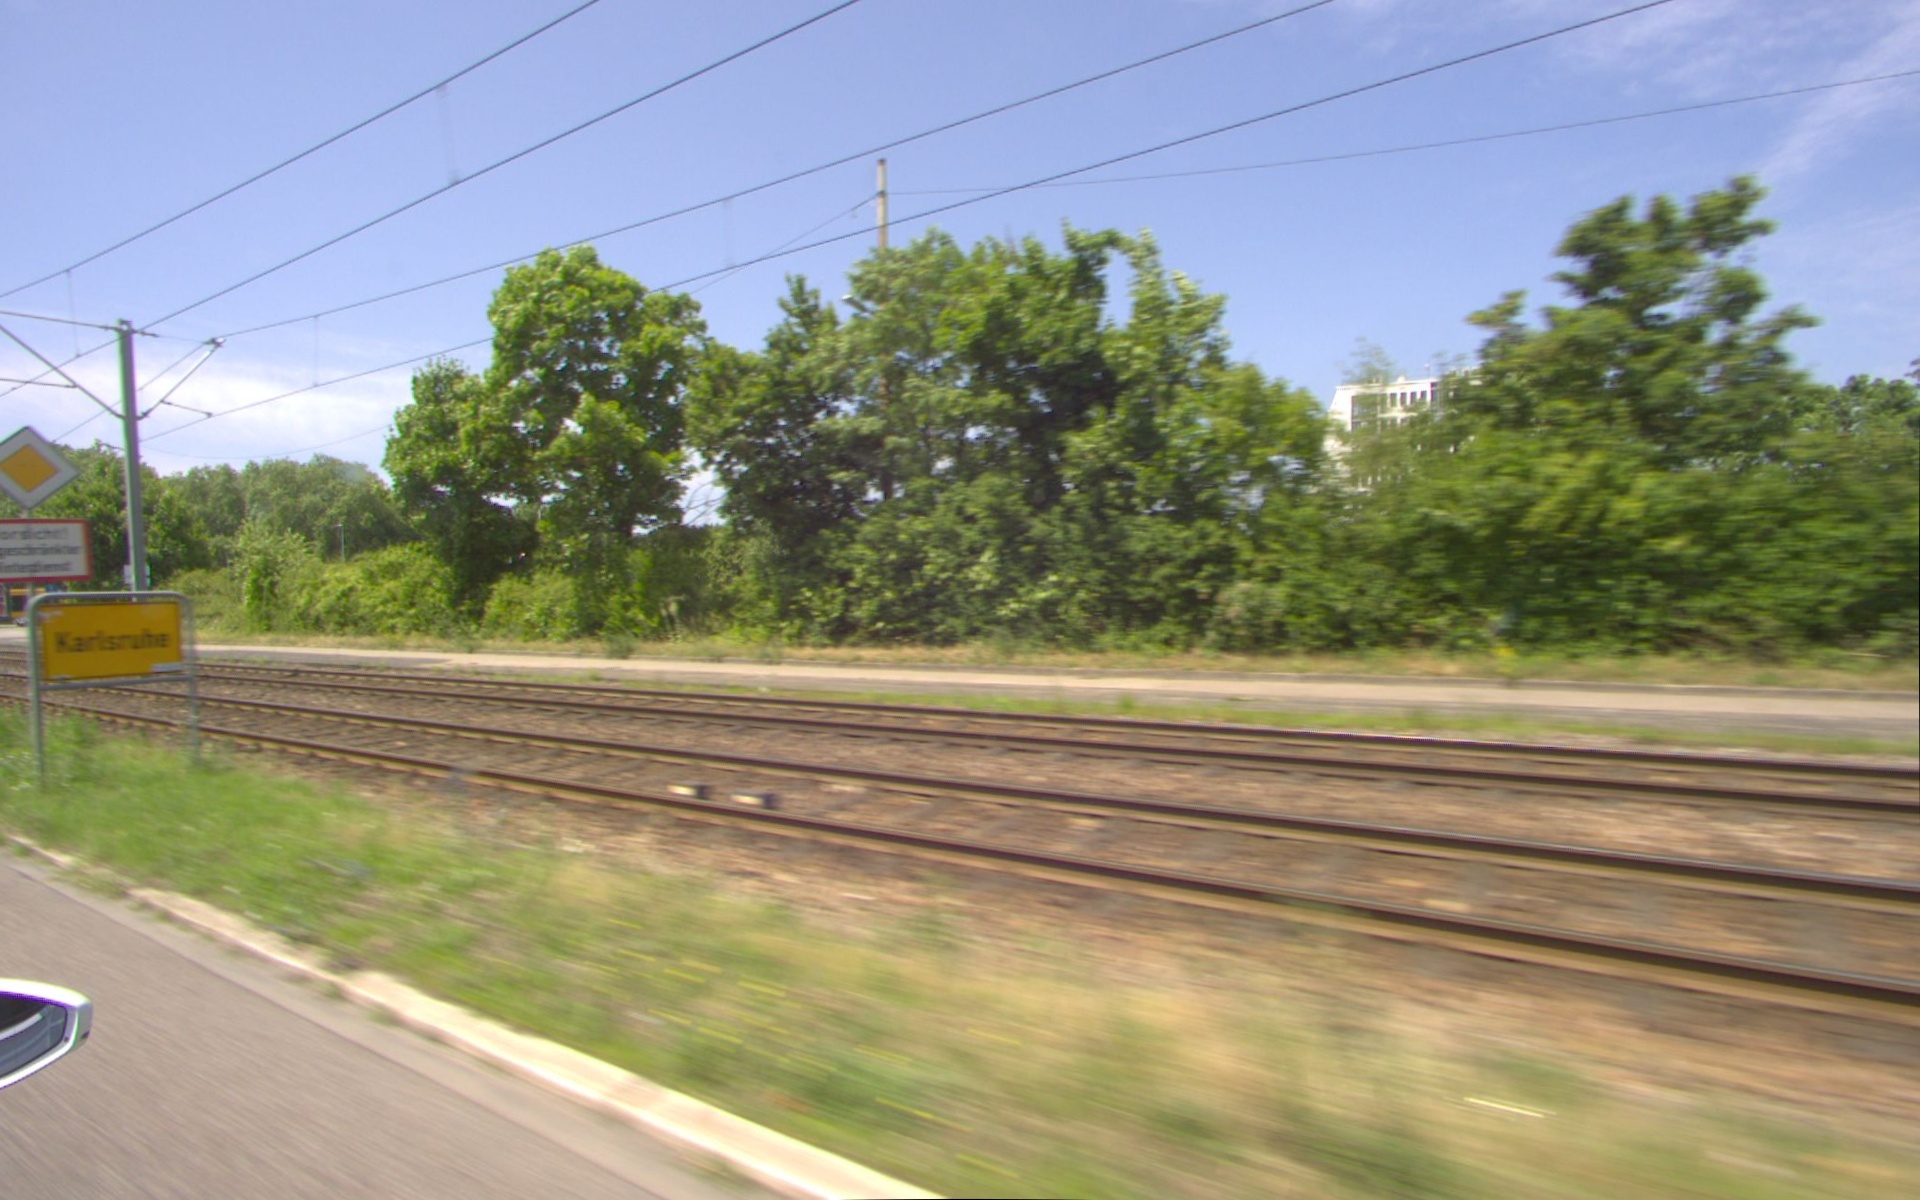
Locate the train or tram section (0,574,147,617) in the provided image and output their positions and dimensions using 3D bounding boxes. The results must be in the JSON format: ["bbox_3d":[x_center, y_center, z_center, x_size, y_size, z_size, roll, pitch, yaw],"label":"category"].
[{"bbox_3d":[-90.905,-0.461,100.753,13.860,3.969,2.905,-2,-1,-35],"label":"train or tram section"}]
